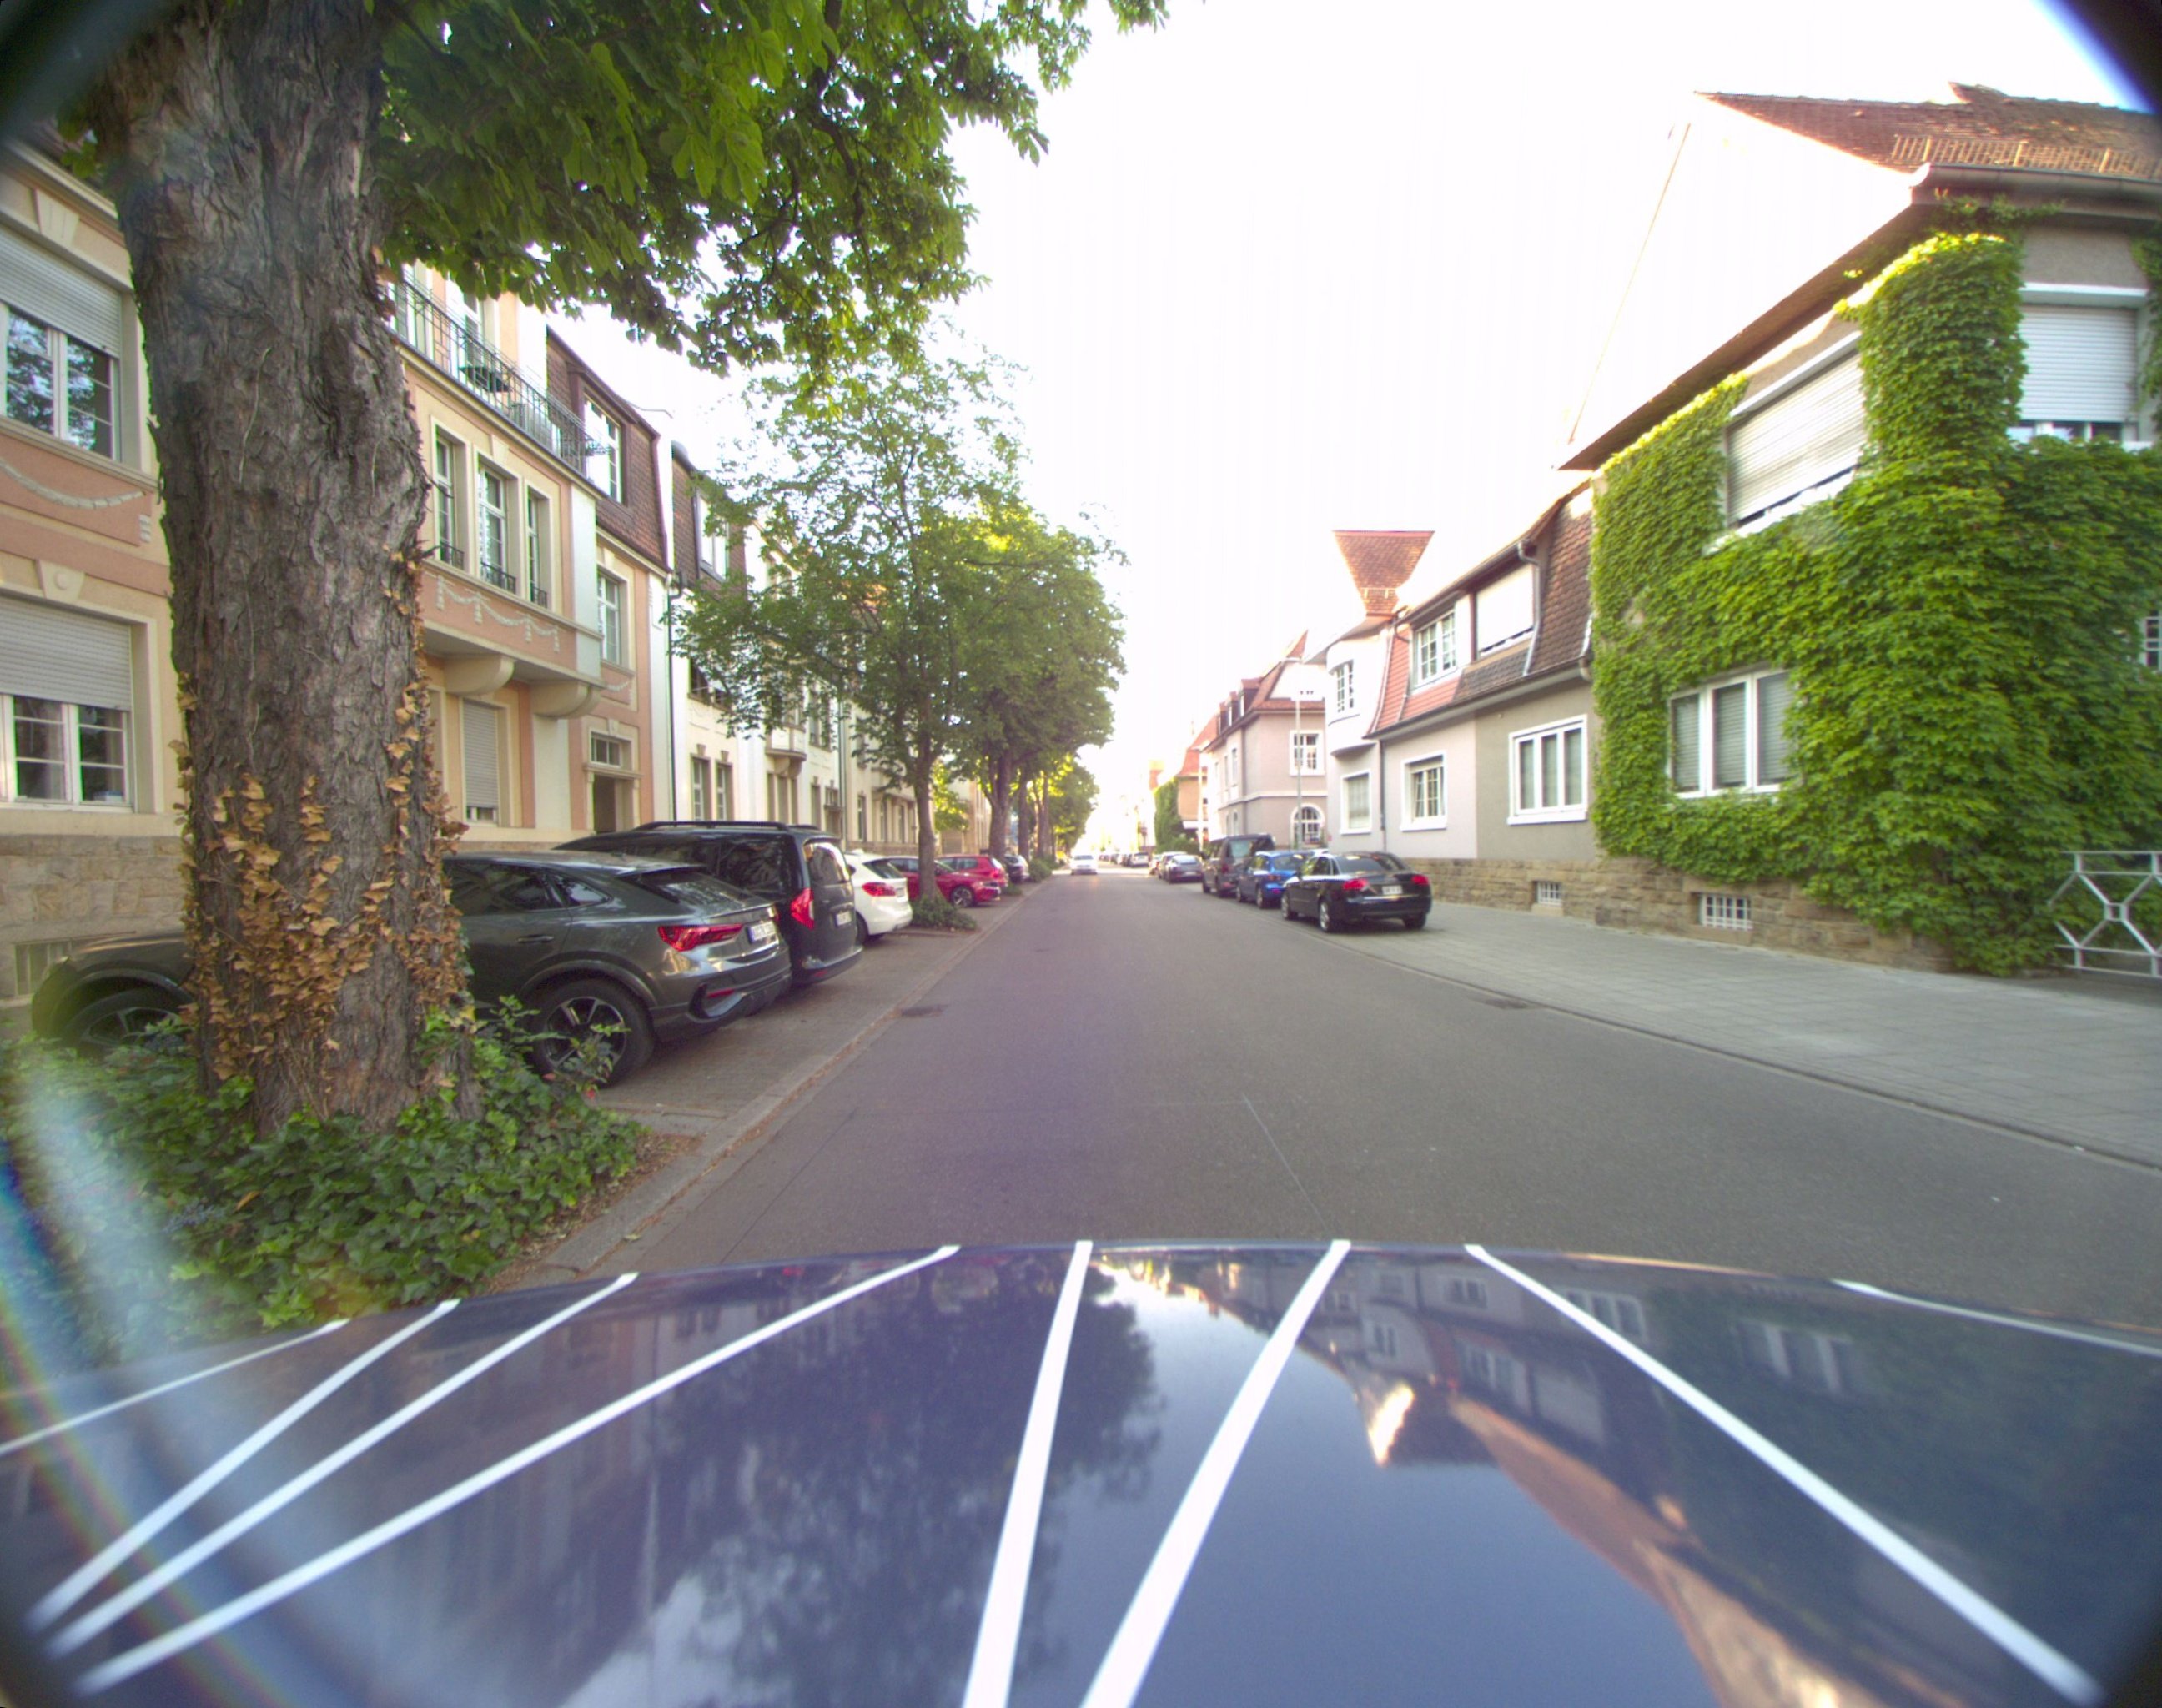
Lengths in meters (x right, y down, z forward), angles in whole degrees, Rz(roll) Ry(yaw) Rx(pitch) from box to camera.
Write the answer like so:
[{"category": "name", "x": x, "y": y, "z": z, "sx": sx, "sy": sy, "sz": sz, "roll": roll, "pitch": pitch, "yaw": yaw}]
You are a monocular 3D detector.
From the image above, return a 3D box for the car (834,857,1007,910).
[{"category": "car", "x": -4.534, "y": 0.814, "z": 21.940, "sx": 4.530, "sy": 1.443, "sz": 1.868, "roll": 0, "pitch": 1, "yaw": 3}]

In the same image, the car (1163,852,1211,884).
[{"category": "car", "x": 5.062, "y": 0.635, "z": 36.669, "sx": 1.932, "sy": 1.376, "sz": 4.063, "roll": -3, "pitch": 0, "yaw": 4}]

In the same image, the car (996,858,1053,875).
[{"category": "car", "x": -3.514, "y": 0.762, "z": 47.645, "sx": 3.399, "sy": 1.057, "sz": 1.542, "roll": 0, "pitch": 1, "yaw": 2}]

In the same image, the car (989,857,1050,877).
[{"category": "car", "x": -3.564, "y": 0.765, "z": 44.439, "sx": 3.399, "sy": 1.143, "sz": 1.542, "roll": 0, "pitch": 1, "yaw": 2}]

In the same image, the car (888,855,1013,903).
[{"category": "car", "x": -4.139, "y": 0.768, "z": 24.468, "sx": 3.680, "sy": 1.473, "sz": 1.659, "roll": 0, "pitch": 1, "yaw": 3}]

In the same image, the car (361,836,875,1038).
[{"category": "car", "x": -4.438, "y": 0.741, "z": 7.834, "sx": 4.121, "sy": 1.827, "sz": 1.844, "roll": 0, "pitch": 1, "yaw": -2}]

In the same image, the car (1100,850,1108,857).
[{"category": "car", "x": 5.299, "y": -0.111, "z": 173.294, "sx": 1.699, "sy": 1.520, "sz": 3.677, "roll": -3, "pitch": 0, "yaw": 2}]

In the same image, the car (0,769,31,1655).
[{"category": "car", "x": -4.596, "y": 0.766, "z": 0.524, "sx": 4.763, "sy": 1.864, "sz": 1.896, "roll": 0, "pitch": 1, "yaw": -4}]

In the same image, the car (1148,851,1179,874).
[{"category": "car", "x": 5.441, "y": 0.524, "z": 50.386, "sx": 1.662, "sy": 1.354, "sz": 3.677, "roll": -3, "pitch": 0, "yaw": 2}]

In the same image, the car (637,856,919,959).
[{"category": "car", "x": -4.832, "y": 0.823, "z": 12.534, "sx": 3.950, "sy": 1.568, "sz": 1.719, "roll": 0, "pitch": 1, "yaw": 0}]

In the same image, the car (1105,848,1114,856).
[{"category": "car", "x": 5.585, "y": -0.338, "z": 149.123, "sx": 1.699, "sy": 1.520, "sz": 3.677, "roll": -3, "pitch": 0, "yaw": 2}]

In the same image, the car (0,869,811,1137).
[{"category": "car", "x": -4.540, "y": 0.895, "z": 5.497, "sx": 4.522, "sy": 1.514, "sz": 1.844, "roll": 0, "pitch": 1, "yaw": -4}]

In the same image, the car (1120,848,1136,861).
[{"category": "car", "x": 5.570, "y": 0.039, "z": 91.012, "sx": 1.699, "sy": 1.520, "sz": 3.677, "roll": -3, "pitch": 0, "yaw": 2}]

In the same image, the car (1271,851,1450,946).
[{"category": "car", "x": 5.129, "y": 0.719, "z": 14.643, "sx": 1.806, "sy": 1.438, "sz": 4.428, "roll": -3, "pitch": 0, "yaw": 0}]

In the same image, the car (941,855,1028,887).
[{"category": "car", "x": -4.314, "y": 0.740, "z": 34.316, "sx": 3.680, "sy": 1.390, "sz": 1.576, "roll": 0, "pitch": 1, "yaw": 2}]

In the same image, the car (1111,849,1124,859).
[{"category": "car", "x": 5.558, "y": -0.023, "z": 115.866, "sx": 1.699, "sy": 1.520, "sz": 3.677, "roll": -3, "pitch": 0, "yaw": 2}]

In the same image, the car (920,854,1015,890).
[{"category": "car", "x": -4.678, "y": 0.733, "z": 31.713, "sx": 3.680, "sy": 1.457, "sz": 1.576, "roll": 0, "pitch": 1, "yaw": 2}]

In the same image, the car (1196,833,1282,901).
[{"category": "car", "x": 5.145, "y": 0.384, "z": 25.356, "sx": 1.842, "sy": 1.964, "sz": 4.612, "roll": -3, "pitch": 0, "yaw": 0}]

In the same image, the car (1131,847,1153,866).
[{"category": "car", "x": 5.425, "y": 0.217, "z": 68.009, "sx": 1.699, "sy": 1.558, "sz": 3.677, "roll": -3, "pitch": 0, "yaw": 2}]

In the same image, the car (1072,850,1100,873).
[{"category": "car", "x": 0.351, "y": 0.504, "z": 52.435, "sx": 1.819, "sy": 1.454, "sz": 4.072, "roll": -2, "pitch": 0, "yaw": 1}]

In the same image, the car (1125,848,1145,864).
[{"category": "car", "x": 5.339, "y": 0.191, "z": 75.274, "sx": 1.699, "sy": 1.520, "sz": 3.677, "roll": -3, "pitch": 0, "yaw": 2}]

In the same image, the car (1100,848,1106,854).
[{"category": "car", "x": 5.867, "y": -0.689, "z": 202.676, "sx": 1.699, "sy": 1.520, "sz": 3.677, "roll": -3, "pitch": 0, "yaw": 2}]

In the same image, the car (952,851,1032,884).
[{"category": "car", "x": -4.280, "y": 0.651, "z": 36.842, "sx": 3.680, "sy": 1.548, "sz": 1.576, "roll": 0, "pitch": 1, "yaw": 2}]

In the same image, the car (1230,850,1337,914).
[{"category": "car", "x": 5.280, "y": 0.671, "z": 20.344, "sx": 1.768, "sy": 1.438, "sz": 4.062, "roll": -3, "pitch": 0, "yaw": 0}]

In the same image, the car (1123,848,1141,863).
[{"category": "car", "x": 5.441, "y": 0.138, "z": 80.766, "sx": 1.699, "sy": 1.520, "sz": 3.677, "roll": -3, "pitch": 0, "yaw": 2}]

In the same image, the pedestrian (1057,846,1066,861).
[{"category": "pedestrian", "x": -2.511, "y": -0.074, "z": 98.172, "sx": 1.119, "sy": 1.926, "sz": 1.097, "roll": -3, "pitch": 1, "yaw": -1}]

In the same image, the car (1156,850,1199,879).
[{"category": "car", "x": 5.285, "y": 0.550, "z": 42.146, "sx": 1.932, "sy": 1.458, "sz": 4.062, "roll": -3, "pitch": 0, "yaw": 2}]
